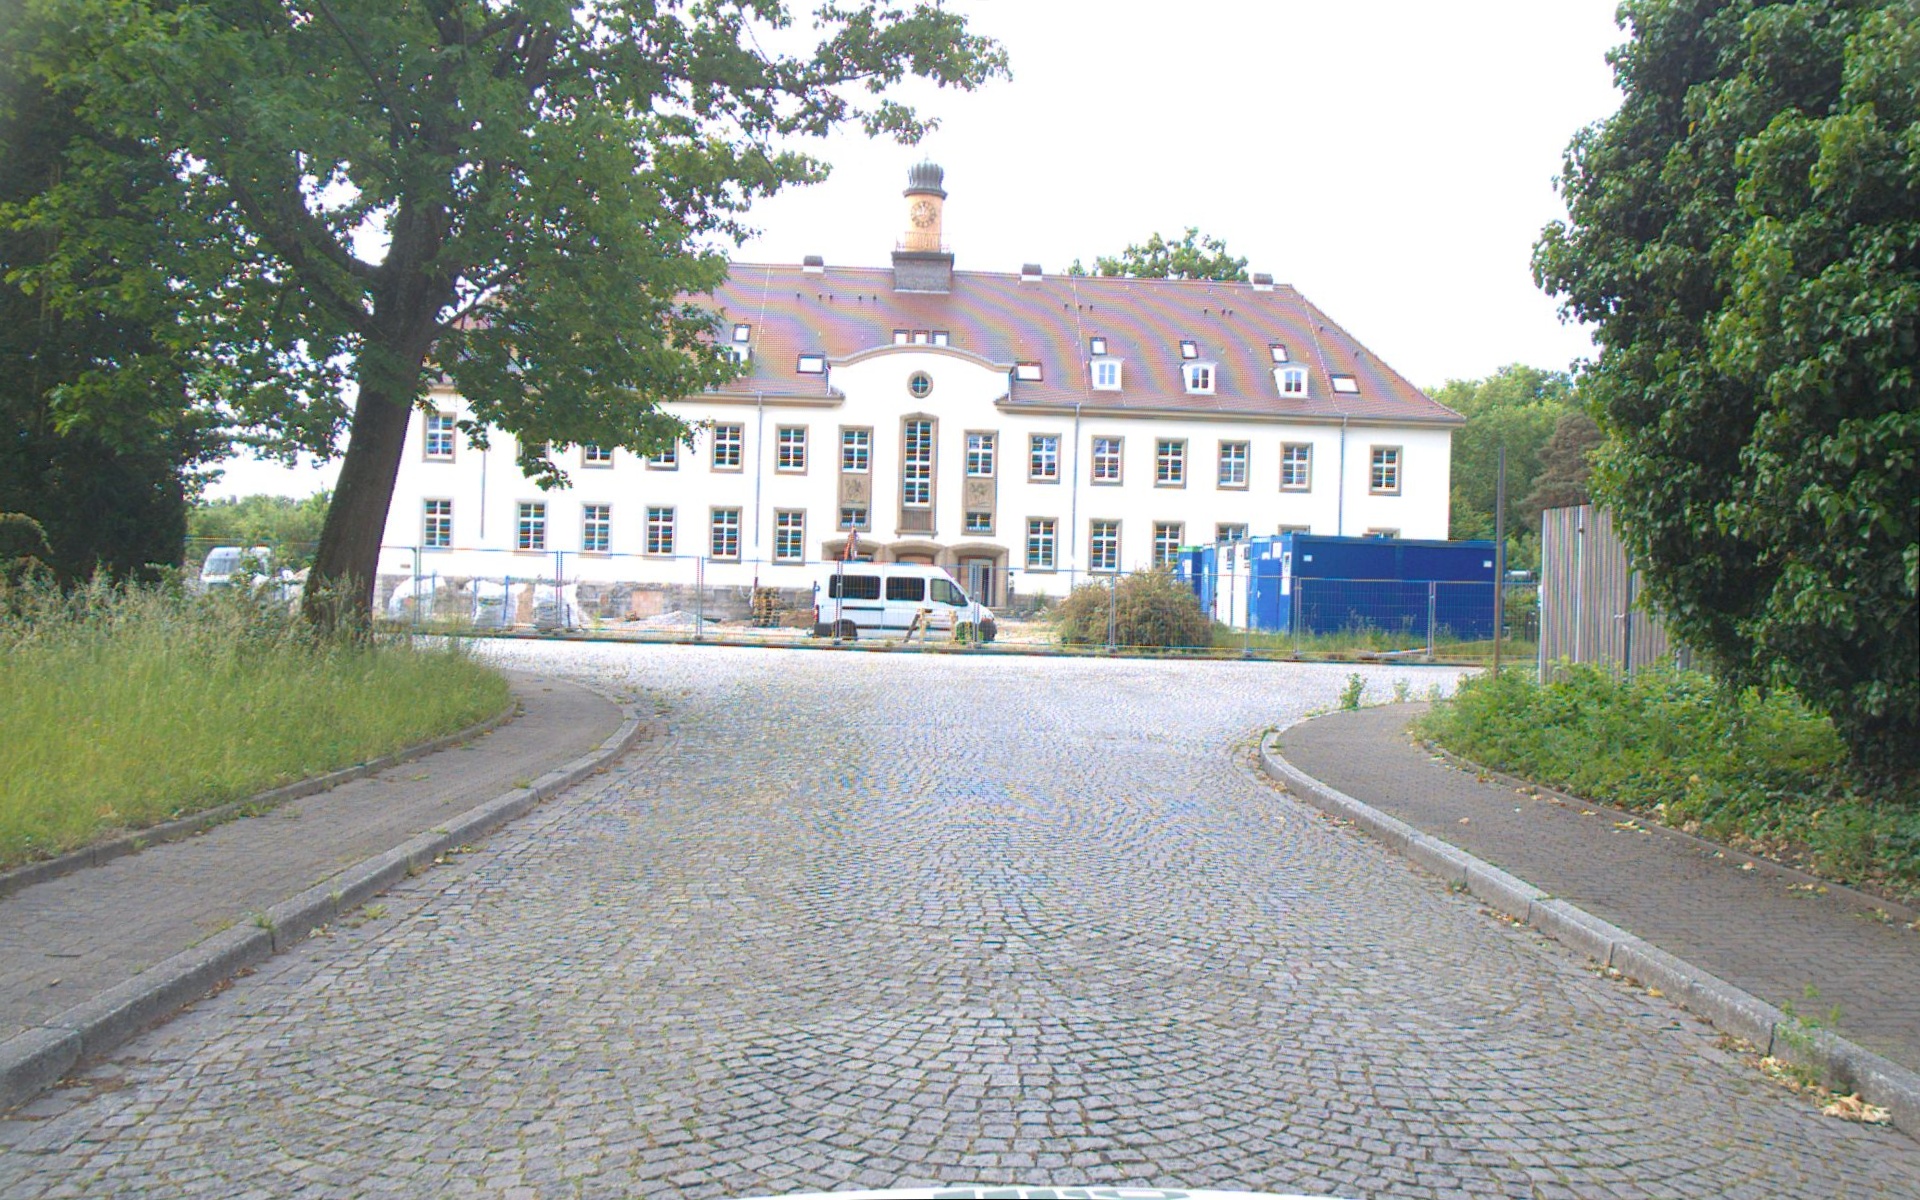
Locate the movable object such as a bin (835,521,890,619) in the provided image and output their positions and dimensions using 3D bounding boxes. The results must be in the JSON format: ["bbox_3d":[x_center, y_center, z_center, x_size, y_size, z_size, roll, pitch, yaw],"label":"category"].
[{"bbox_3d":[-4.079,-1.205,68.441,1.955,3.837,5.311,2,0,-6],"label":"movable object such as a bin"}]

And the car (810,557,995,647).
[{"bbox_3d":[-1.632,0.055,47.530,5.156,2.385,1.910,2,0,-1],"label":"car"}]

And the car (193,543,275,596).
[{"bbox_3d":[-31.990,-1.313,73.006,2.029,2.188,4.890,2,0,-9],"label":"car"}]
